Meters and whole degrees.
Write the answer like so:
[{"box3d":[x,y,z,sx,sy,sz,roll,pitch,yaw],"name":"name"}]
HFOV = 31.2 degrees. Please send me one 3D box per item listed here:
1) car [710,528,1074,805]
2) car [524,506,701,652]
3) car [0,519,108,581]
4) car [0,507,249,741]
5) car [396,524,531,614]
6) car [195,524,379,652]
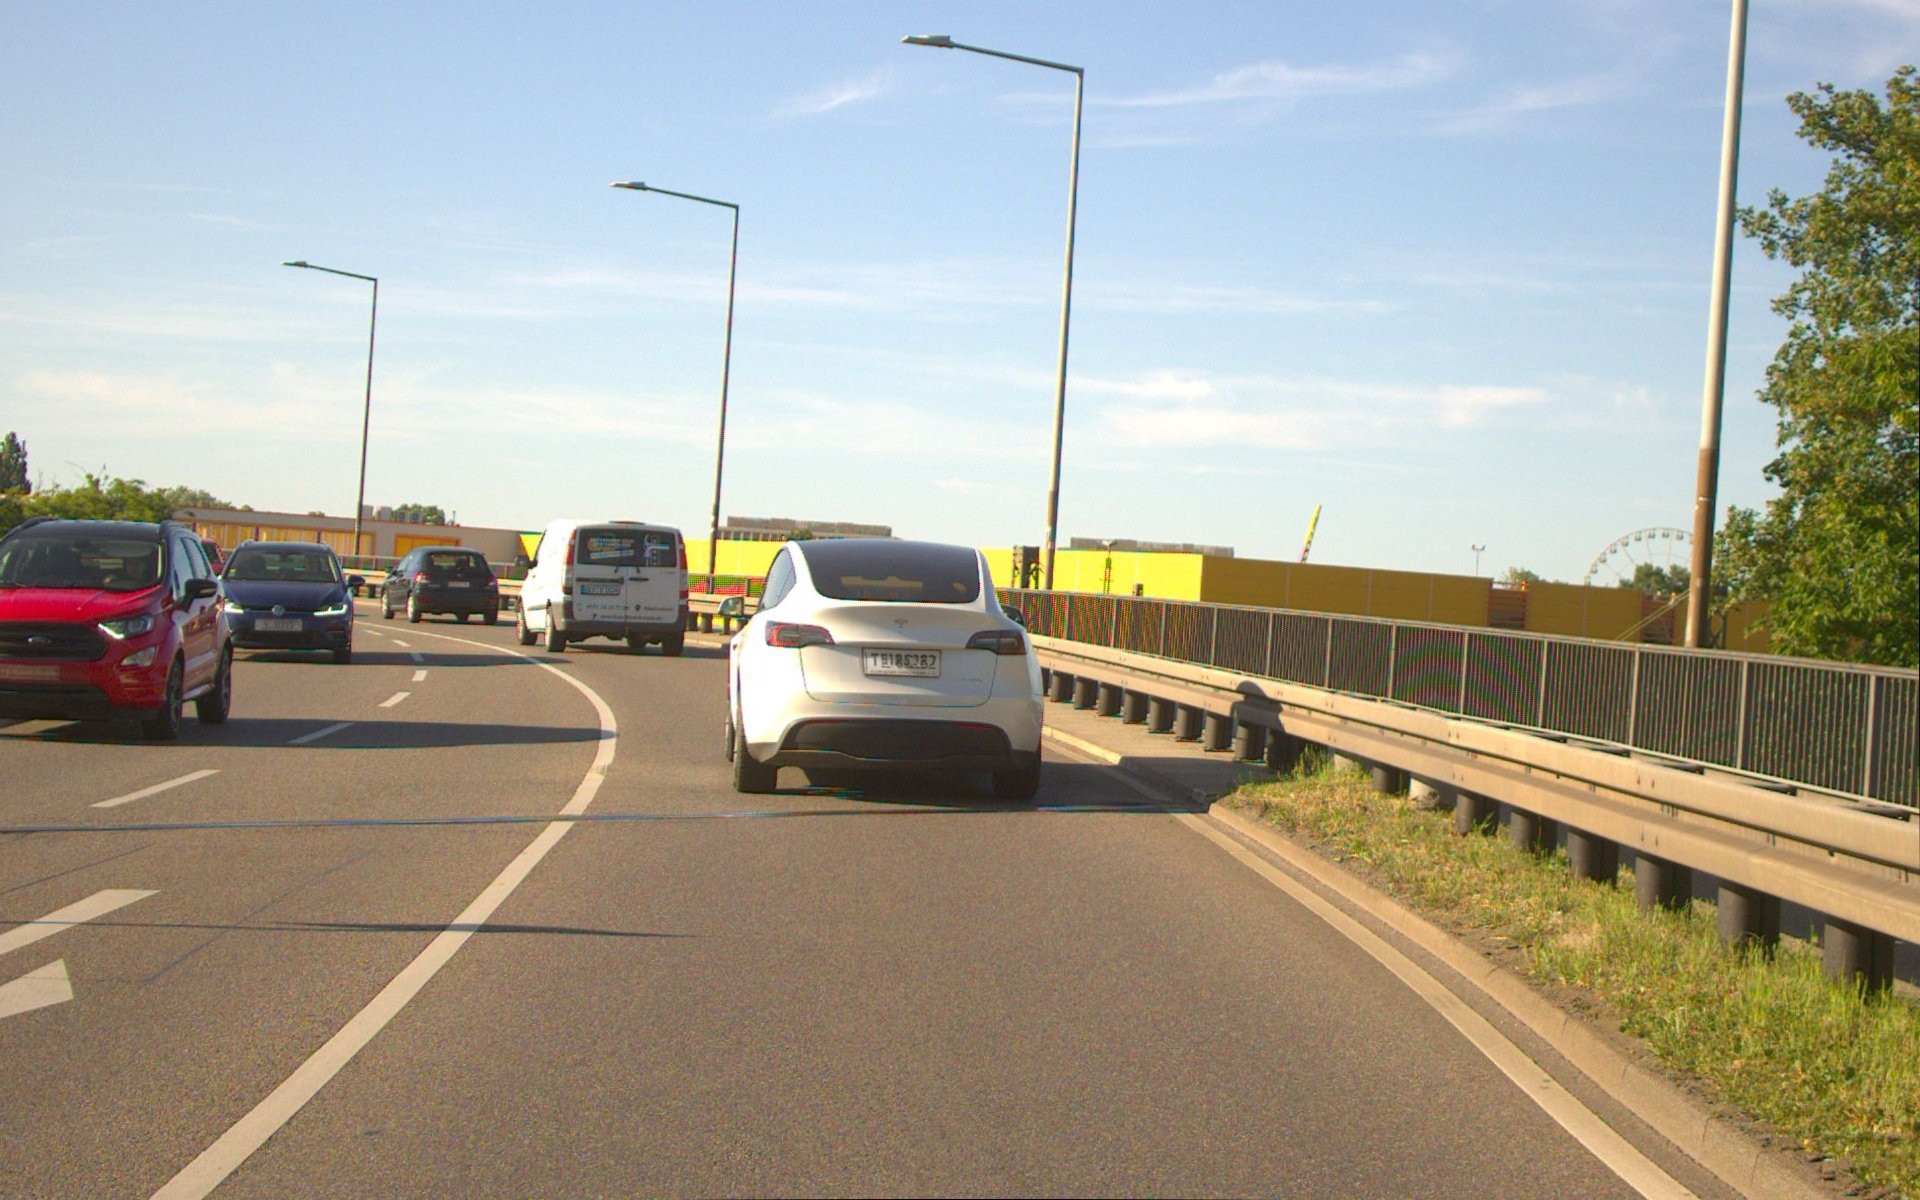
[{"box3d":[-0.549,0.370,22.631,1.985,1.632,4.063,1,1,-7],"name":"car"},{"box3d":[-5.042,-0.337,49.387,2.004,1.934,4.469,2,1,-12],"name":"car"},{"box3d":[-25.492,-1.412,96.345,1.859,1.579,3.914,2,1,-33],"name":"car"},{"box3d":[-6.707,0.131,26.638,1.804,1.632,4.001,2,1,-4],"name":"car"},{"box3d":[-9.453,-0.601,65.239,1.968,1.632,4.001,1,1,-16],"name":"car"},{"box3d":[-8.453,-0.181,43.466,1.724,1.481,4.408,2,1,-4],"name":"car"}]
